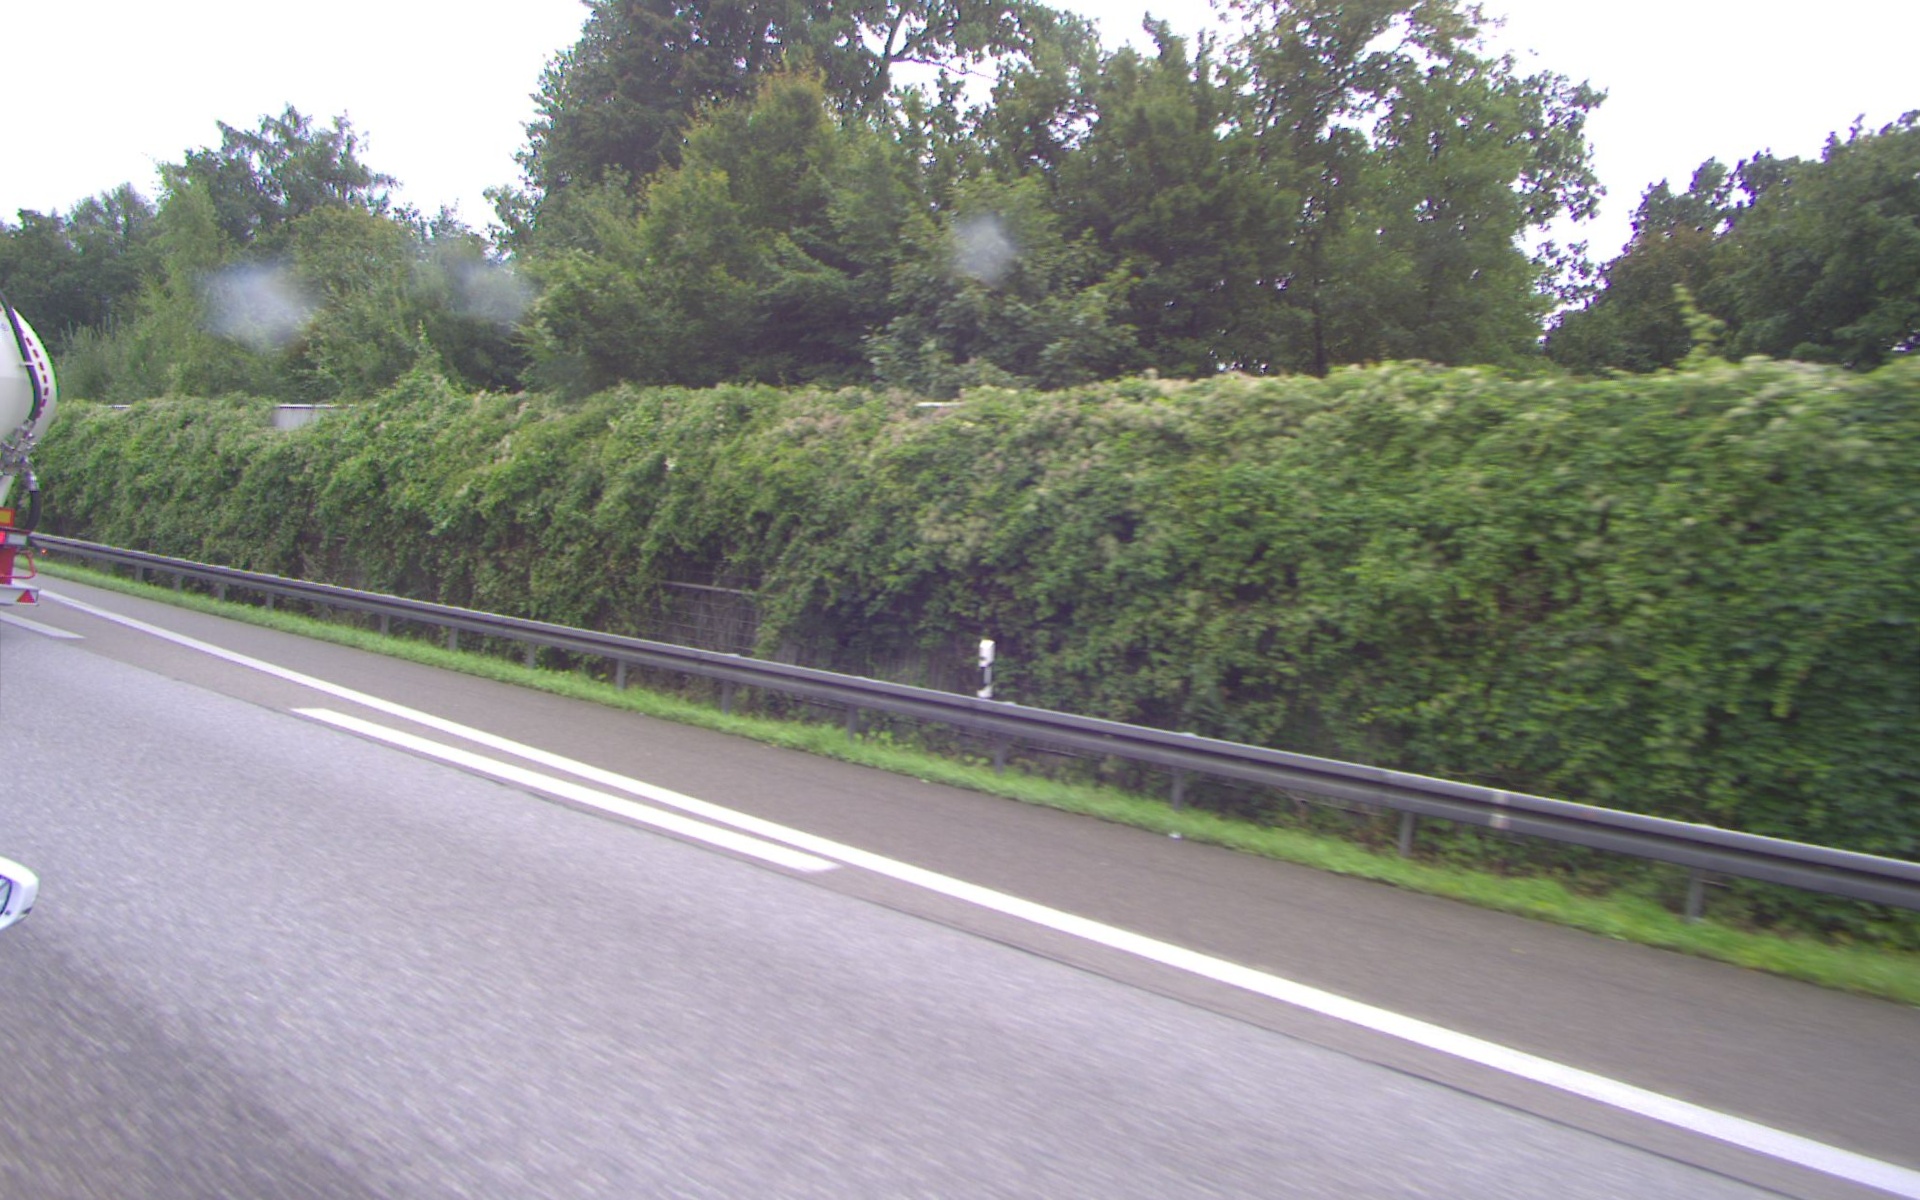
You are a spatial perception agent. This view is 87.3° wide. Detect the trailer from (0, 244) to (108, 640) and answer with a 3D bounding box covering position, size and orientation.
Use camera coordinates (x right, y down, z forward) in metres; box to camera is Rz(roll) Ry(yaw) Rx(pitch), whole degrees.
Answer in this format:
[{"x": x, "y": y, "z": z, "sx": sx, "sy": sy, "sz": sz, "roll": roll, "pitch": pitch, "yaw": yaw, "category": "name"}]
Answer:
[{"x": -15.633, "y": -2.265, "z": 13.186, "sx": 12.912, "sy": 3.986, "sz": 2.672, "roll": 6, "pitch": -1, "yaw": 32, "category": "trailer"}]
